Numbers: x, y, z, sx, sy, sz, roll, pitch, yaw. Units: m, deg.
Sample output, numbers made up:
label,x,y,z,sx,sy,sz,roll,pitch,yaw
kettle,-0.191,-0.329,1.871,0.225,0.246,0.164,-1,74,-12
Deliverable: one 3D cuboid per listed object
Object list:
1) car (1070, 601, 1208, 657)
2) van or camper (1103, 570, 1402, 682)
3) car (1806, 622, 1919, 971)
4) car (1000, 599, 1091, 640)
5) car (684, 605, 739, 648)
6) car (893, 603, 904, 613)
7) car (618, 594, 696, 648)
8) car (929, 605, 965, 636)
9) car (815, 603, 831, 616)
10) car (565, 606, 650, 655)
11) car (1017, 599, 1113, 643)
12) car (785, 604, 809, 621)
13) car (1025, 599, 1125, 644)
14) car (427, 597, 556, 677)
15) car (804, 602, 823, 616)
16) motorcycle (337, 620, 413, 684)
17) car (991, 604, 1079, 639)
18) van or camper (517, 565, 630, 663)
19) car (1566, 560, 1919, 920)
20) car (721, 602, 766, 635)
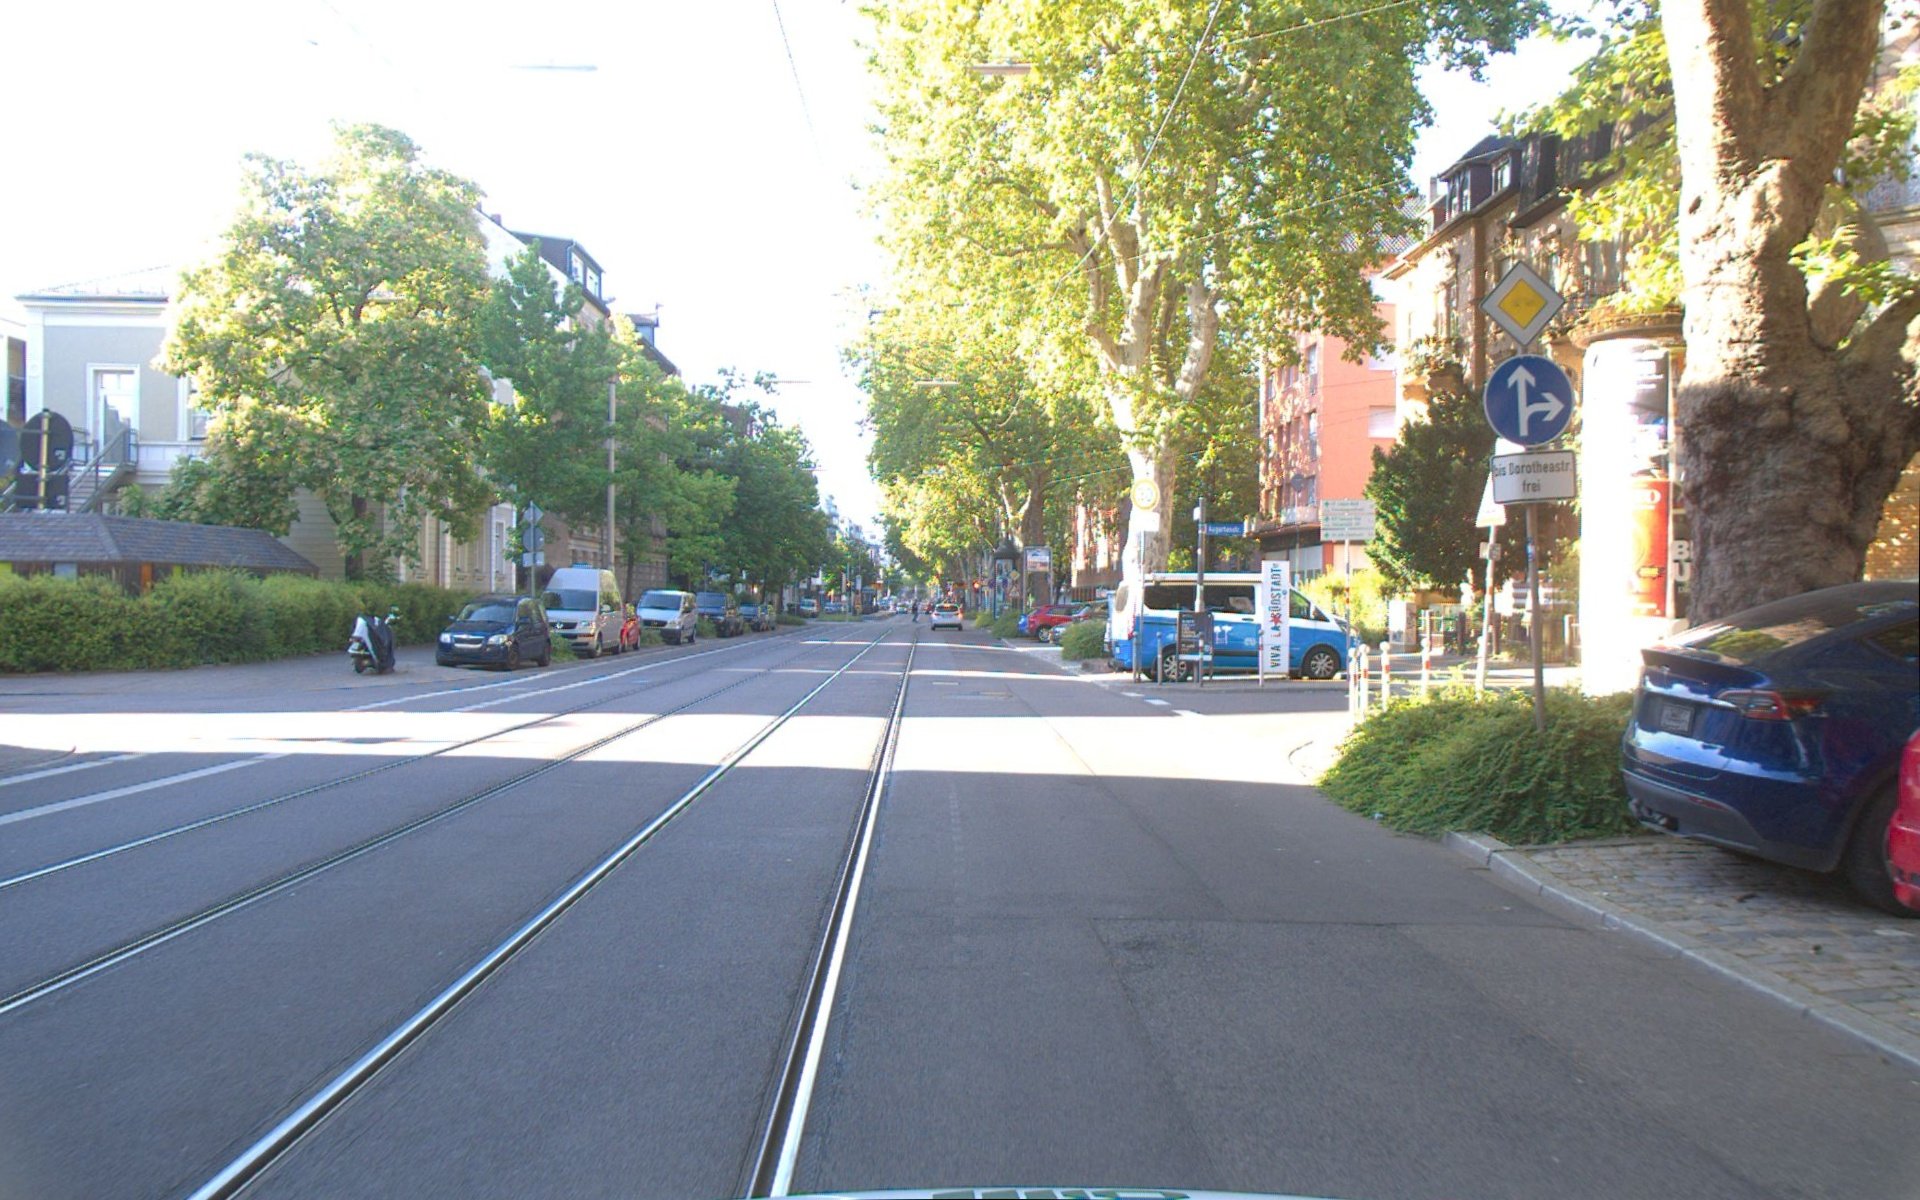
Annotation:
label,x,y,z,sx,sy,sz,roll,pitch,yaw
car,5.300,0.849,49.375,3.906,1.637,2.000,0,0,-1
van or camper,5.721,0.467,32.797,5.448,2.048,2.242,0,2,-6
car,5.679,0.803,6.683,3.575,1.402,1.889,0,0,-1
car,3.733,0.853,72.961,3.906,1.816,2.000,0,0,-1
car,-11.310,1.201,75.555,1.953,1.893,4.177,0,0,-1
car,-9.119,1.215,245.893,1.603,1.443,3.588,0,0,-3
car,-11.135,0.747,61.146,2.129,1.893,4.657,0,0,-1
car,-0.750,1.080,90.324,1.879,1.612,3.790,-1,0,-2
car,-16.019,1.119,193.601,1.880,1.443,3.588,0,0,-4
car,-10.997,0.928,51.836,1.838,1.486,4.205,0,0,-1
car,4.388,0.883,69.714,3.906,1.816,2.000,0,0,-1
car,-13.730,1.022,139.679,1.880,1.443,3.718,0,0,-4
car,4.654,0.874,67.437,3.906,1.816,2.000,0,0,-1
car,-10.468,0.786,37.251,1.751,1.614,4.342,3,0,-2
car,-15.241,0.930,172.001,1.880,1.443,3.588,0,0,-4
motorcycle,-11.682,1.019,33.105,0.748,1.126,2.329,1,2,-1
car,3.376,0.980,75.258,3.906,1.547,2.000,0,0,-1
van or camper,-10.773,0.372,46.480,2.037,2.577,5.316,0,0,-1
car,5.546,0.663,8.904,3.845,1.699,1.960,0,0,-3
car,-11.927,0.992,91.466,1.953,1.775,4.657,0,0,-1
